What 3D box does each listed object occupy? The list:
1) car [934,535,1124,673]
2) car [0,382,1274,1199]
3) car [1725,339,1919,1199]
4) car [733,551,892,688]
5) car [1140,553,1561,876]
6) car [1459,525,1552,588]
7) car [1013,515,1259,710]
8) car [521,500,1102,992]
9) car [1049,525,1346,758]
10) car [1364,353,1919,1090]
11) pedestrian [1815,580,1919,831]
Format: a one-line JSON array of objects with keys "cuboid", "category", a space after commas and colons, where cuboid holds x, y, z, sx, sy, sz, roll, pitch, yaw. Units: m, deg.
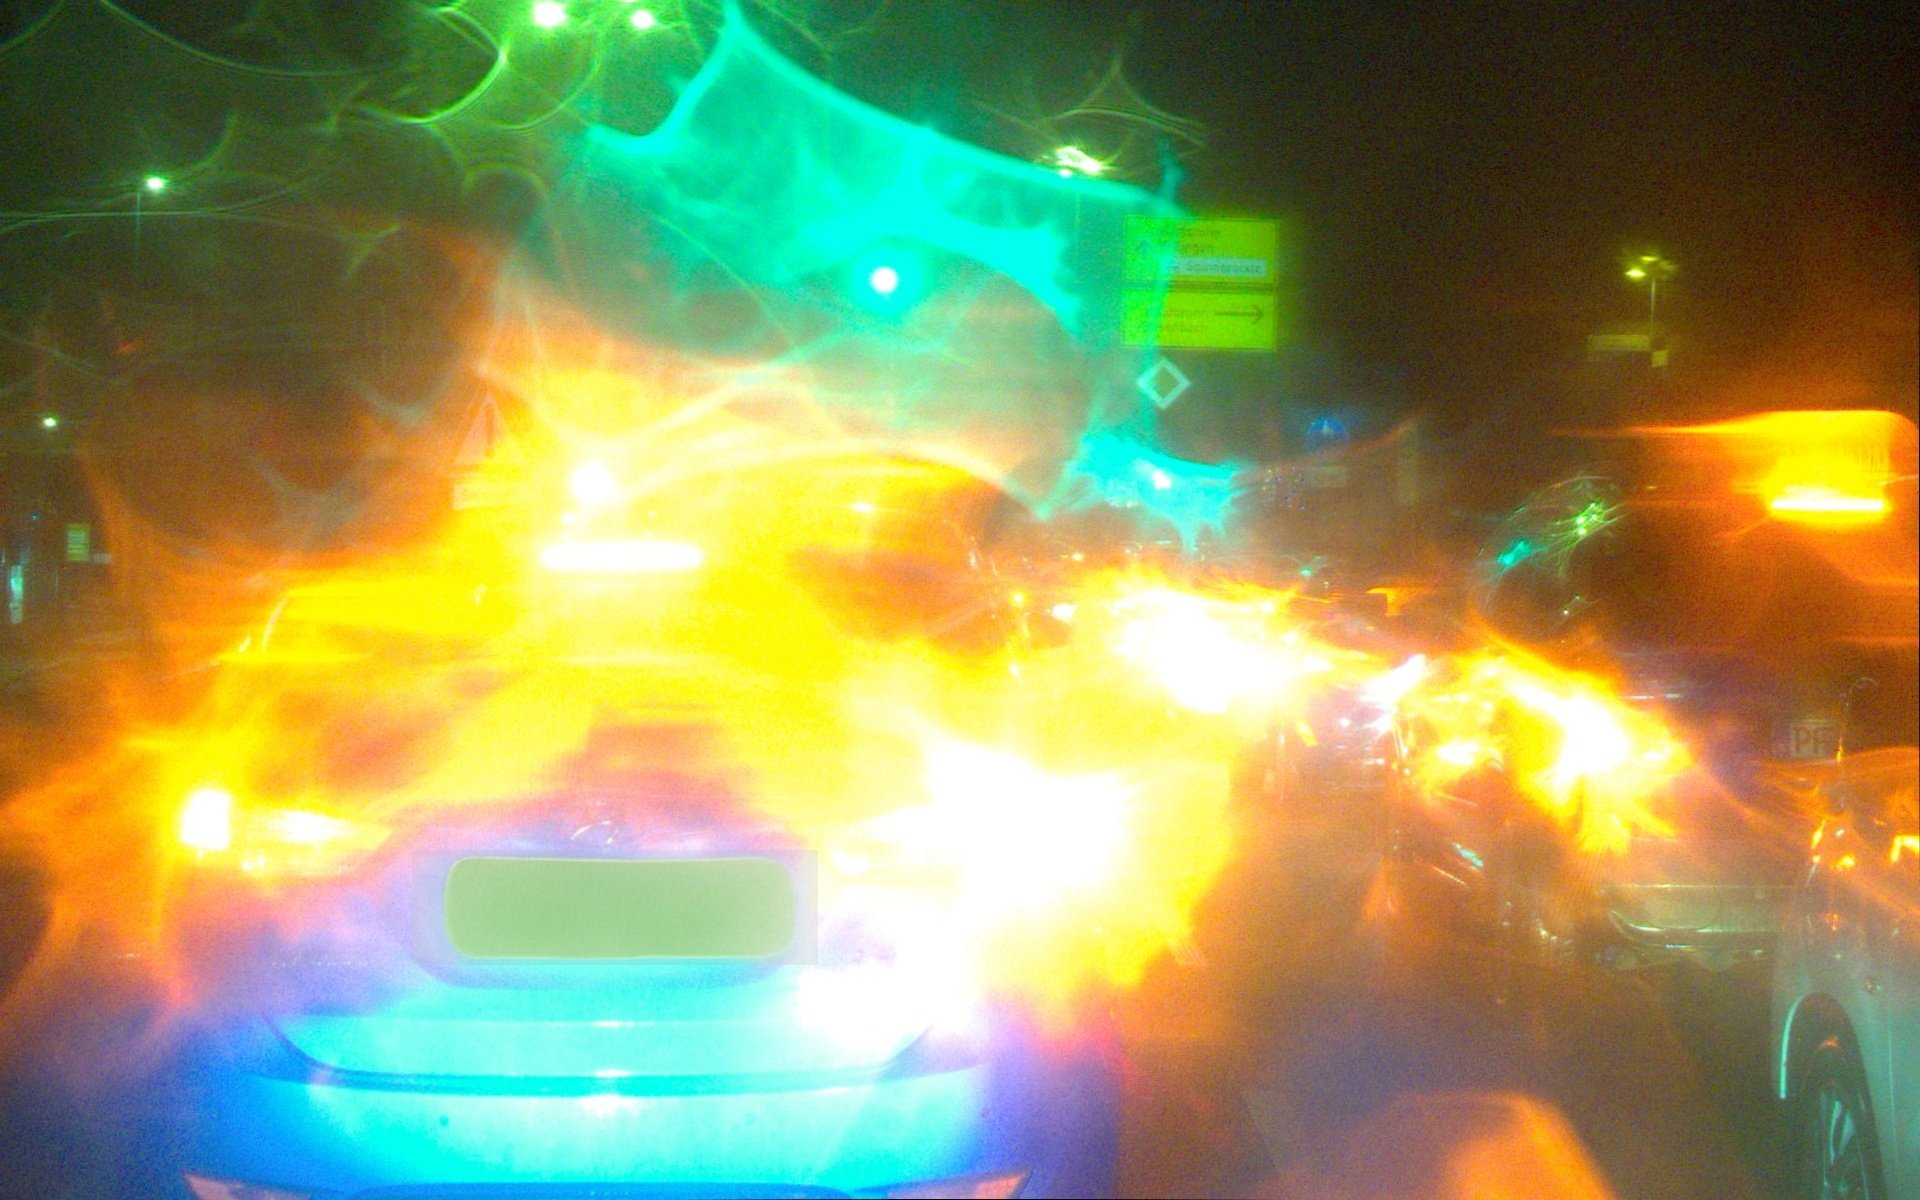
[{"cuboid": [0.769, 0.023, 41.068, 1.857, 1.539, 3.931, 1, 1, -5], "category": "car"}, {"cuboid": [-0.587, 0.505, 7.689, 2.014, 1.711, 4.452, 1, 1, -2], "category": "car"}, {"cuboid": [2.471, 0.531, 4.610, 1.851, 1.858, 4.341, 1, 0, -1], "category": "car"}, {"cuboid": [-2.105, 0.242, 48.106, 1.993, 1.818, 4.001, 1, 0, -5], "category": "car"}, {"cuboid": [2.218, 0.600, 20.579, 1.993, 1.712, 4.000, 1, 0, -1], "category": "car"}, {"cuboid": [14.892, -1.185, 94.044, 1.865, 1.641, 3.963, -2, 1, 0], "category": "car"}, {"cuboid": [1.653, 0.096, 33.617, 1.993, 1.767, 4.000, 1, 0, -3], "category": "car"}, {"cuboid": [-0.540, 0.488, 13.947, 1.993, 1.678, 4.000, 1, 1, -1], "category": "car"}, {"cuboid": [1.779, 0.283, 27.016, 1.993, 1.664, 4.000, 1, 1, -1], "category": "car"}, {"cuboid": [2.621, 0.327, 11.592, 1.968, 2.040, 4.000, 1, 0, -1], "category": "car"}, {"cuboid": [6.256, 0.714, 23.542, 0.622, 1.696, 0.541, 1, 0, -3], "category": "pedestrian"}]
